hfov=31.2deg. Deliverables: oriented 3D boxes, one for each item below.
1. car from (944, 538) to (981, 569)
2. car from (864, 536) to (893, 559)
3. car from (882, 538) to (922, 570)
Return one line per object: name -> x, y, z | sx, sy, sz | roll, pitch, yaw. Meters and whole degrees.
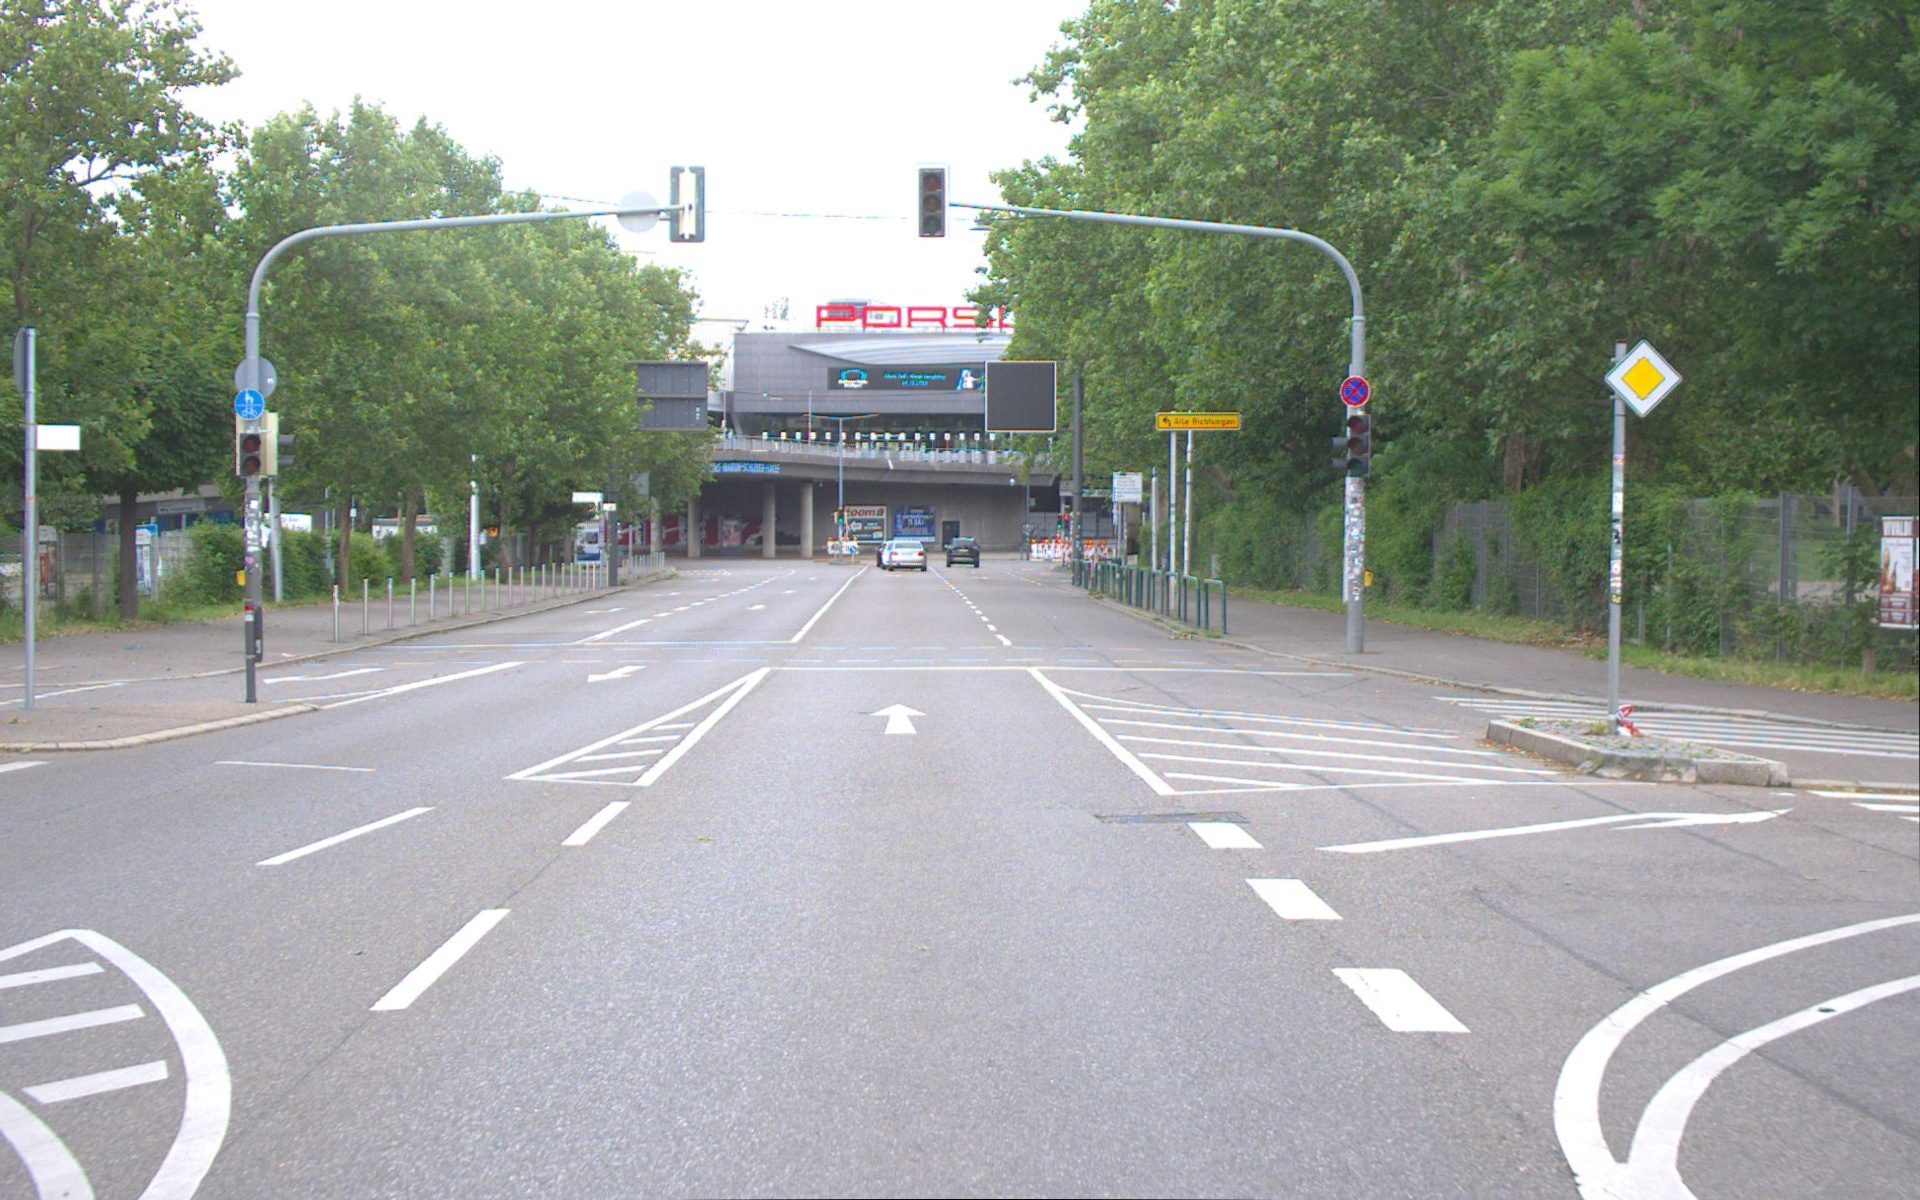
car -> 0.152, -2.601, 192.878 | 2.007, 1.693, 4.069 | 1, 1, 0
car -> -4.111, -2.664, 173.918 | 1.411, 1.109, 3.038 | 1, 1, -1
car -> -2.782, -2.229, 165.121 | 1.778, 1.455, 3.822 | 2, 1, 0
